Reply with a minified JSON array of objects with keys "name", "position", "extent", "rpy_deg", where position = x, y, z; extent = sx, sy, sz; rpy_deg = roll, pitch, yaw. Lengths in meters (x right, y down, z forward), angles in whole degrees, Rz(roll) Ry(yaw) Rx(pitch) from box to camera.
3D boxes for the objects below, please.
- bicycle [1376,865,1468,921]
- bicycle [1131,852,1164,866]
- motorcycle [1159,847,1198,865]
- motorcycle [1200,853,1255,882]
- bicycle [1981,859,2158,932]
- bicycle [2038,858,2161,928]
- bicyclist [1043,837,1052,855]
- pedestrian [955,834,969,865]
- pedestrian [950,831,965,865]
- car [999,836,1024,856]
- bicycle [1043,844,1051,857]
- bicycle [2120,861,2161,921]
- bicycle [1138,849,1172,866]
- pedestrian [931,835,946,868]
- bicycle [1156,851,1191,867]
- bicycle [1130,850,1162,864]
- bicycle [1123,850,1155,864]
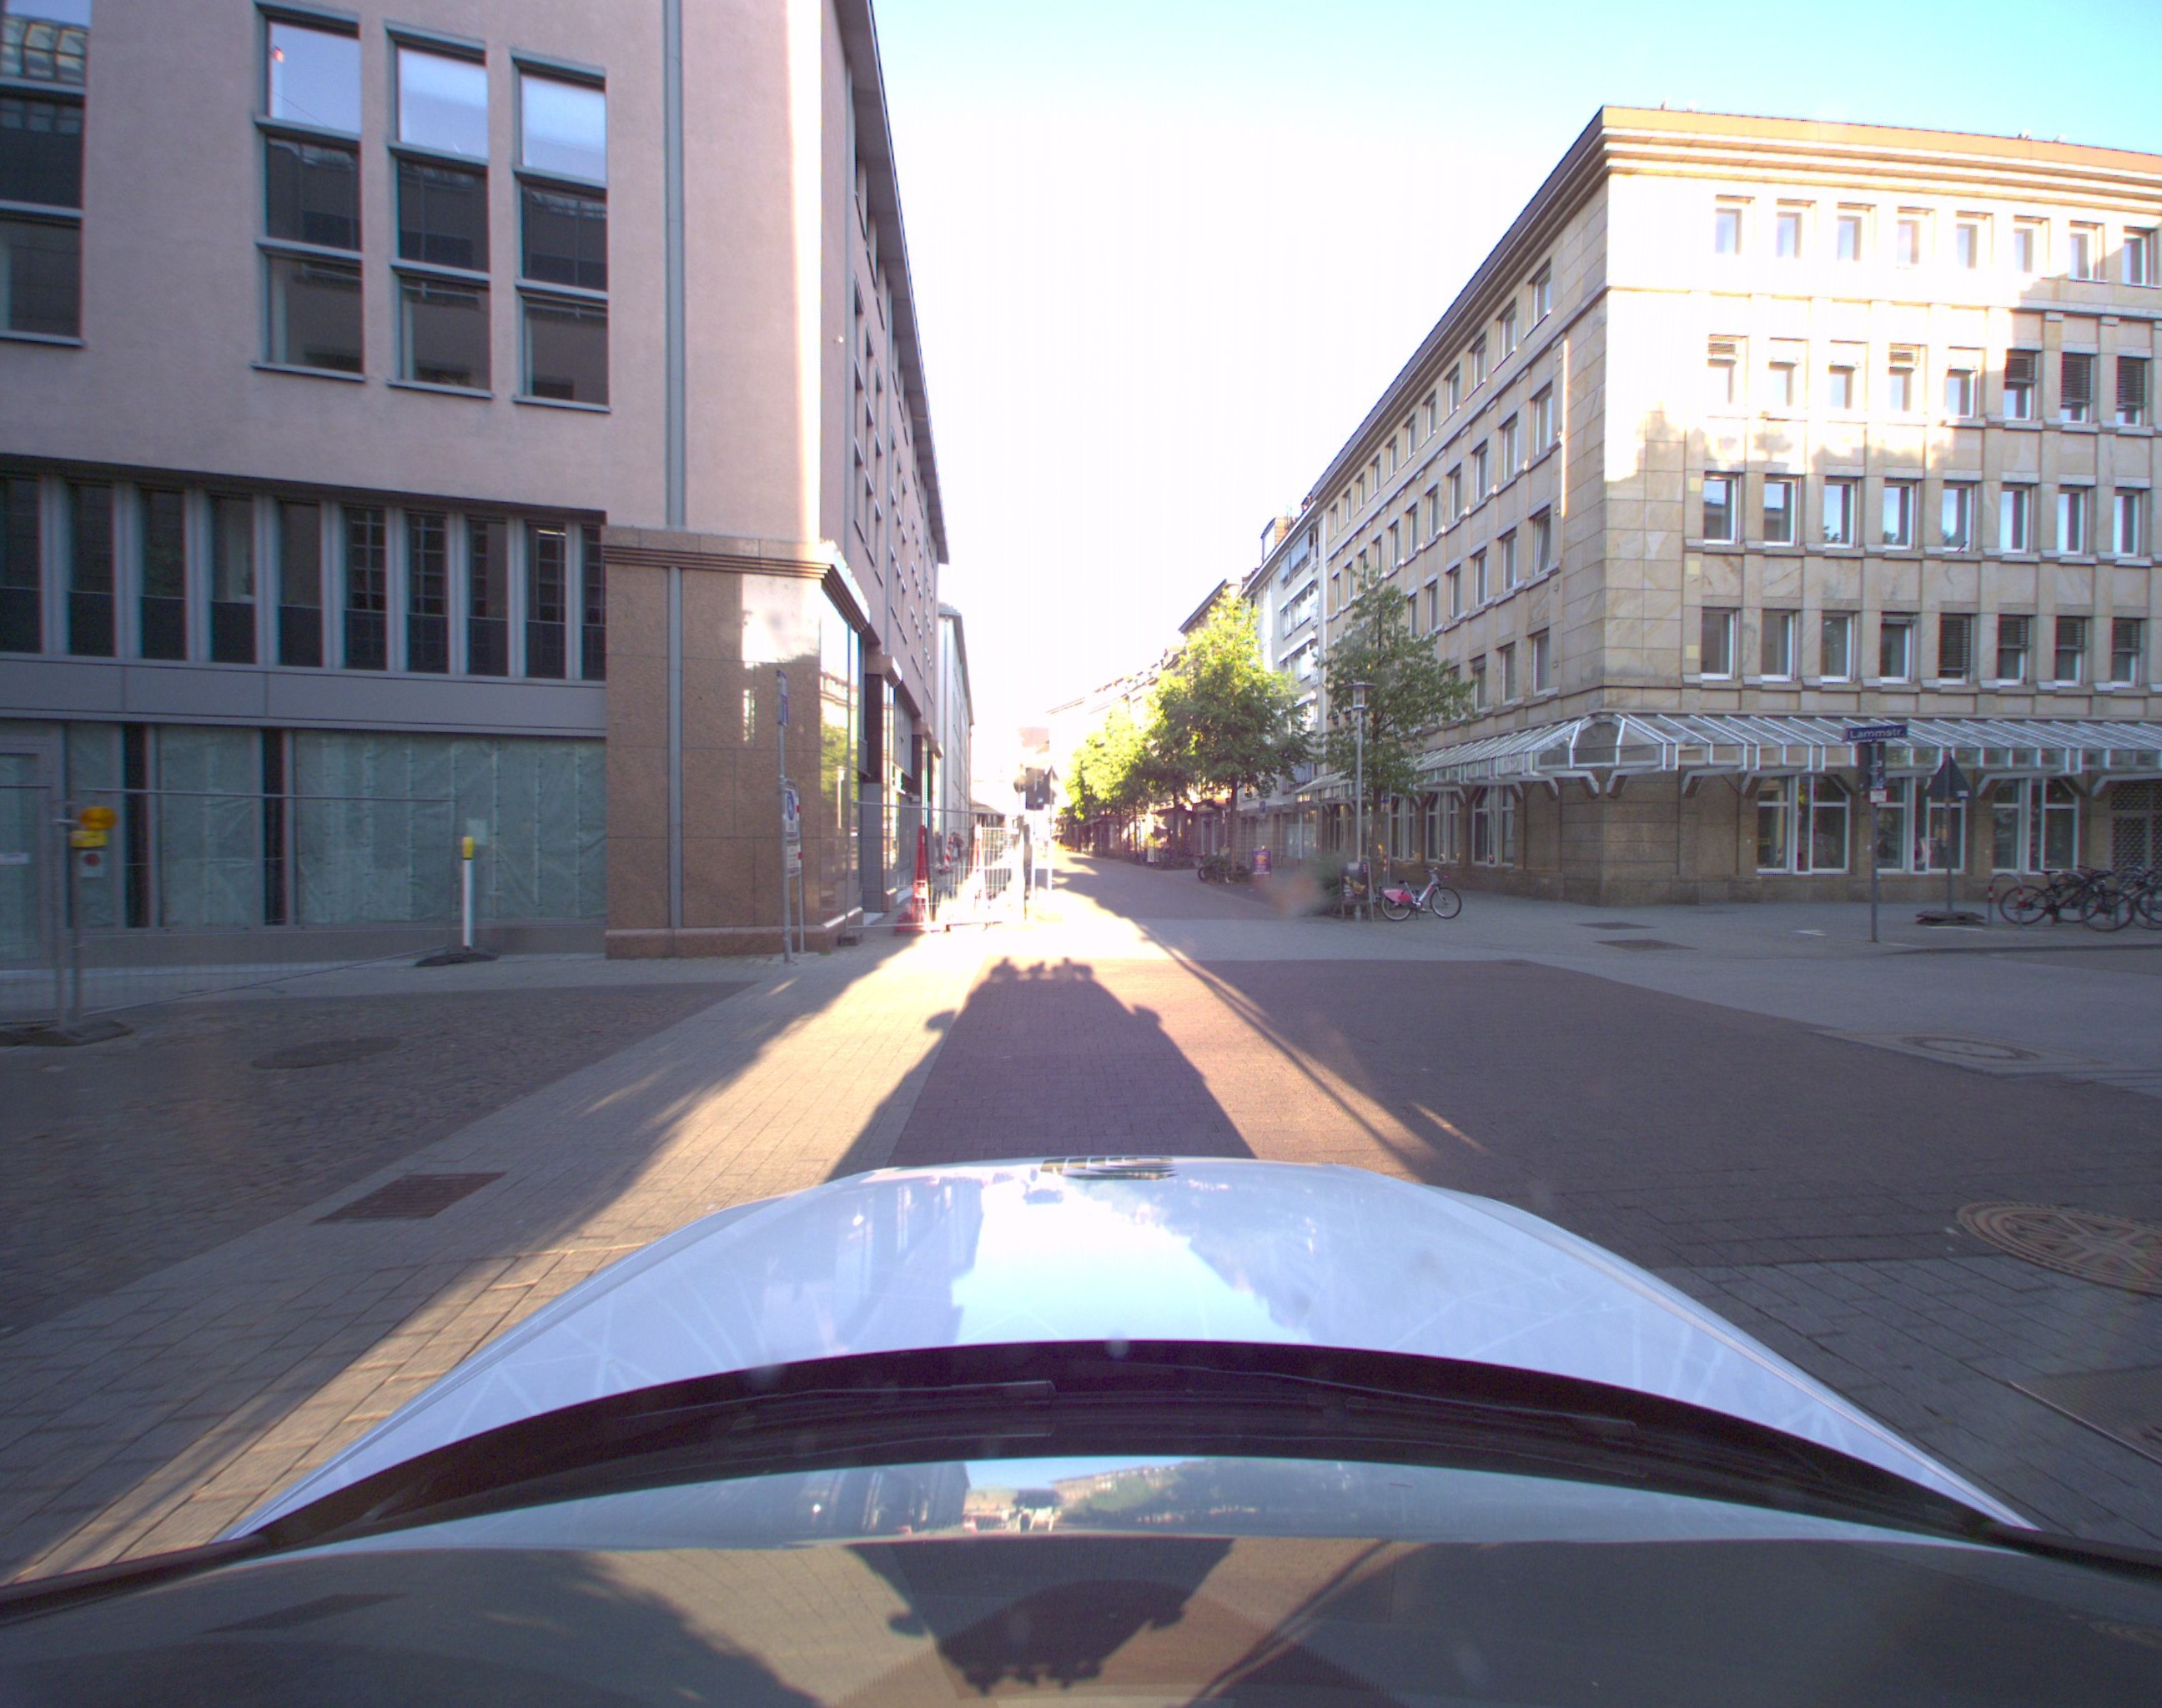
[{"name":"bicycle","position":[7.027,0.796,16.867],"extent":[1.644,1.050,0.665],"rpy_deg":[-3,2,14]},{"name":"bicycle","position":[4.479,0.341,54.816],"extent":[2.154,0.926,0.588],"rpy_deg":[0,0,-12]},{"name":"motorcycle","position":[5.944,0.121,49.687],"extent":[2.484,1.095,0.585],"rpy_deg":[-1,0,-27]},{"name":"motorcycle","position":[5.972,0.561,33.166],"extent":[2.151,1.151,0.493],"rpy_deg":[-1,0,-7]},{"name":"bicycle","position":[16.539,0.654,13.712],"extent":[0.541,1.050,1.947],"rpy_deg":[0,2,-3]},{"name":"bicycle","position":[17.772,0.637,13.900],"extent":[0.541,1.050,1.948],"rpy_deg":[0,2,-1]},{"name":"bicyclist","position":[-2.871,-0.678,69.255],"extent":[0.720,1.468,0.716],"rpy_deg":[0,1,-6]},{"name":"pedestrian","position":[-6.334,-0.261,43.405],"extent":[0.652,1.651,0.634],"rpy_deg":[0,1,1]},{"name":"pedestrian","position":[-6.507,-0.316,42.825],"extent":[0.652,1.763,0.634],"rpy_deg":[0,1,1]},{"name":"car","position":[-5.845,-0.672,68.367],"extent":[1.841,1.684,3.634],"rpy_deg":[0,1,-9]},{"name":"bicycle","position":[-2.909,-0.298,69.363],"extent":[0.588,1.095,2.156],"rpy_deg":[0,0,-5]},{"name":"bicycle","position":[19.182,0.671,13.828],"extent":[0.511,1.028,1.946],"rpy_deg":[0,1,-5]},{"name":"bicycle","position":[4.783,0.229,52.598],"extent":[2.139,1.061,0.592],"rpy_deg":[0,0,10]},{"name":"pedestrian","position":[-7.484,-0.153,42.679],"extent":[0.652,1.725,0.634],"rpy_deg":[0,1,1]},{"name":"bicycle","position":[5.759,0.299,50.755],"extent":[2.159,0.926,0.587],"rpy_deg":[-1,0,-19]},{"name":"bicycle","position":[4.480,0.200,56.137],"extent":[2.154,0.926,0.588],"rpy_deg":[0,0,-12]},{"name":"bicycle","position":[4.058,0.208,56.966],"extent":[2.154,0.926,0.588],"rpy_deg":[0,0,-12]}]
